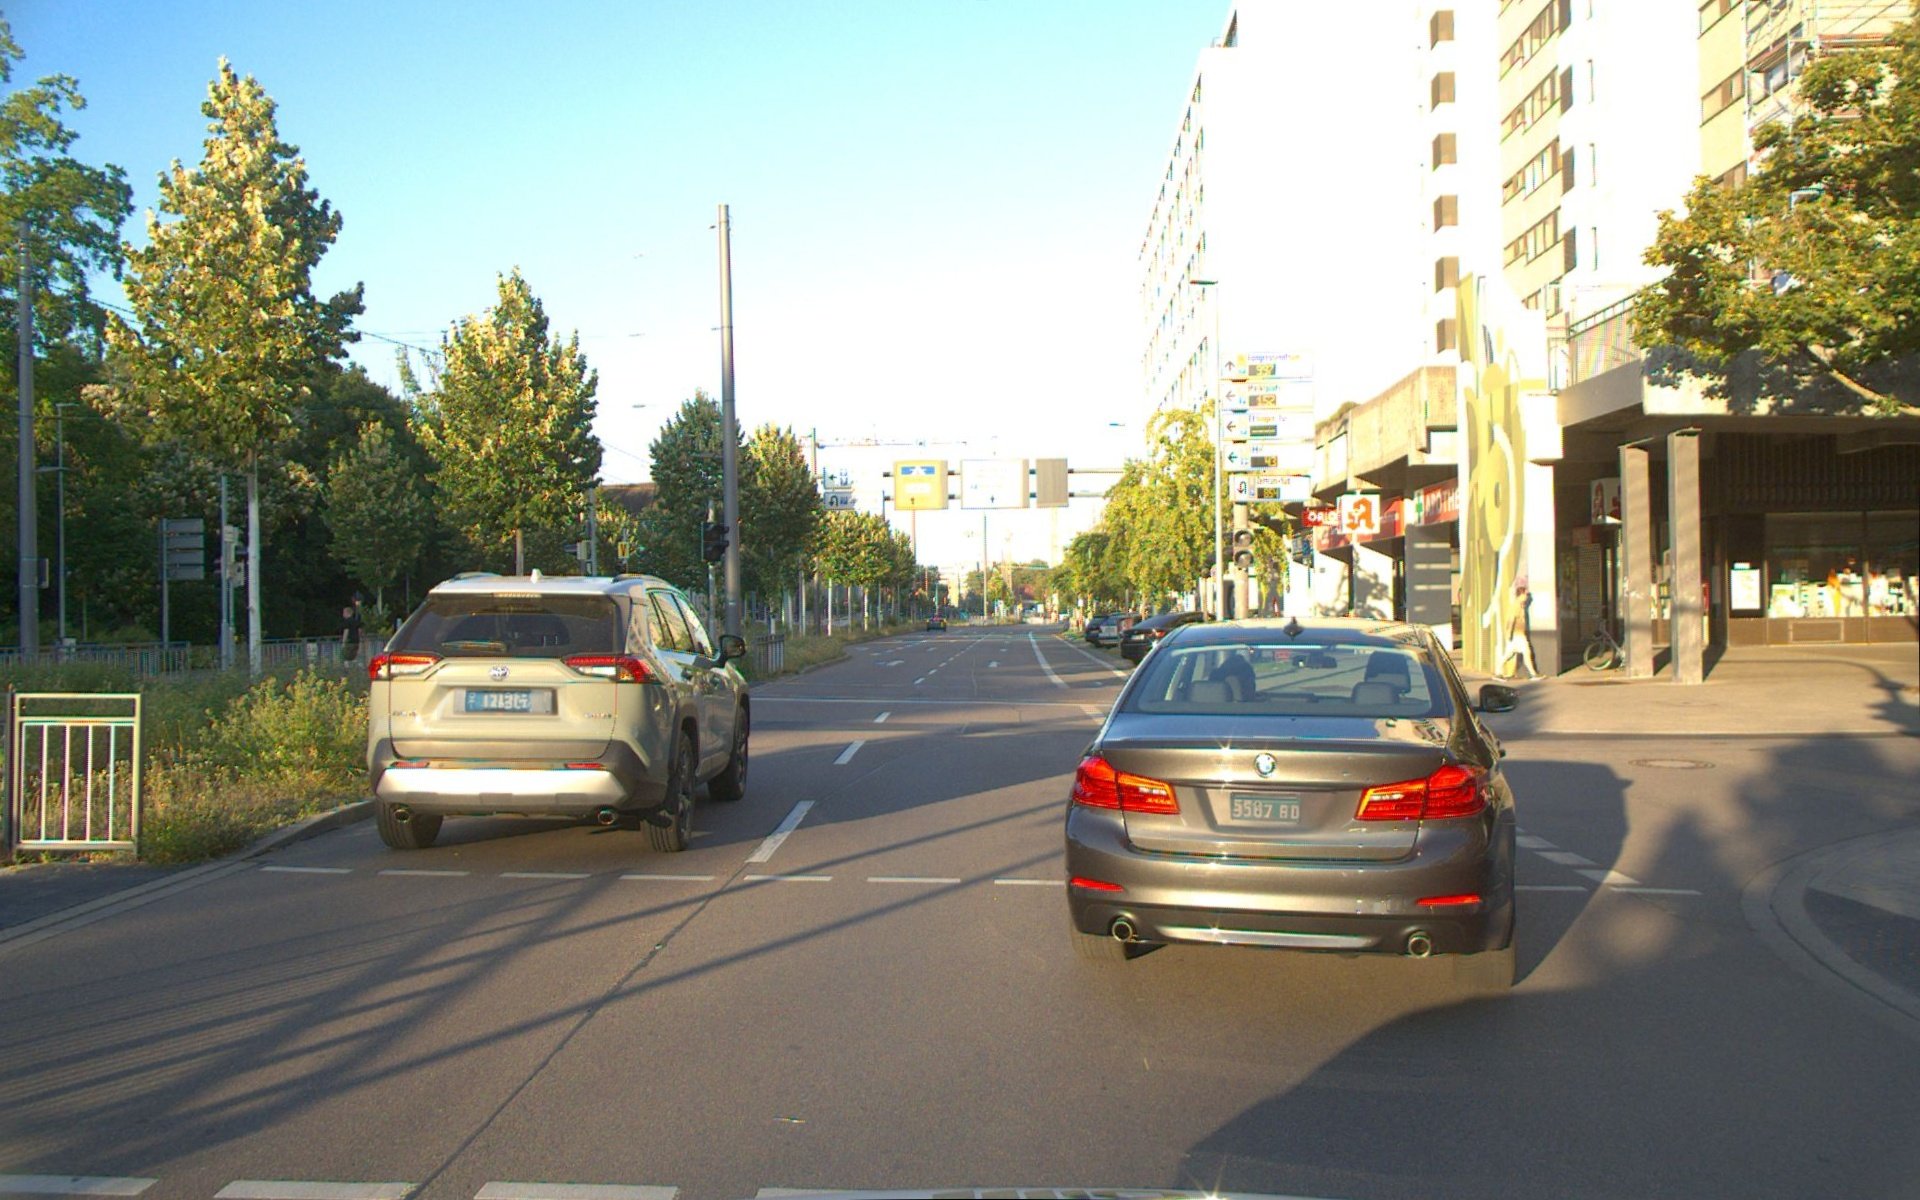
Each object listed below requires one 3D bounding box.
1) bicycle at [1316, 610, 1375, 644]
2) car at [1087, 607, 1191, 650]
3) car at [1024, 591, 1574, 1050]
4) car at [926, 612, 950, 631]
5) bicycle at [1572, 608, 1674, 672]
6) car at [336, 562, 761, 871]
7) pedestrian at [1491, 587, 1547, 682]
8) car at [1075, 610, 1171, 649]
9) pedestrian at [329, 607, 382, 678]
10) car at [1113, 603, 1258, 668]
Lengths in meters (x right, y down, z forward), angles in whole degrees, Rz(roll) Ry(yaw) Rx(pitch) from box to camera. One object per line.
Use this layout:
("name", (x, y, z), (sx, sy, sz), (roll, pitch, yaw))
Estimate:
("bicycle", (13.850, 0.977, 59.485), (1.973, 1.169, 0.691), (2, -2, 6))
("car", (7.534, 1.164, 69.292), (4.220, 1.687, 1.837), (0, 1, -36))
("car", (1.735, 0.731, 8.004), (1.891, 1.507, 4.526), (1, 1, 15))
("car", (-1.801, 1.776, 137.300), (1.938, 1.458, 4.843), (0, 1, 0))
("bicycle", (12.746, 0.766, 31.850), (0.678, 1.169, 2.012), (2, -2, -18))
("car", (-2.522, 0.616, 11.244), (1.816, 1.687, 4.268), (0, 1, 0))
("pedestrian", (10.435, 0.637, 30.897), (0.817, 1.742, 0.648), (-1, -1, 1))
("car", (7.473, 1.328, 75.518), (4.219, 1.687, 1.838), (0, 1, -35))
("pedestrian", (-14.050, 0.974, 38.462), (0.817, 1.614, 0.812), (-1, -1, 15))
("car", (6.443, 0.967, 46.971), (4.233, 1.687, 1.832), (0, 1, -43))
